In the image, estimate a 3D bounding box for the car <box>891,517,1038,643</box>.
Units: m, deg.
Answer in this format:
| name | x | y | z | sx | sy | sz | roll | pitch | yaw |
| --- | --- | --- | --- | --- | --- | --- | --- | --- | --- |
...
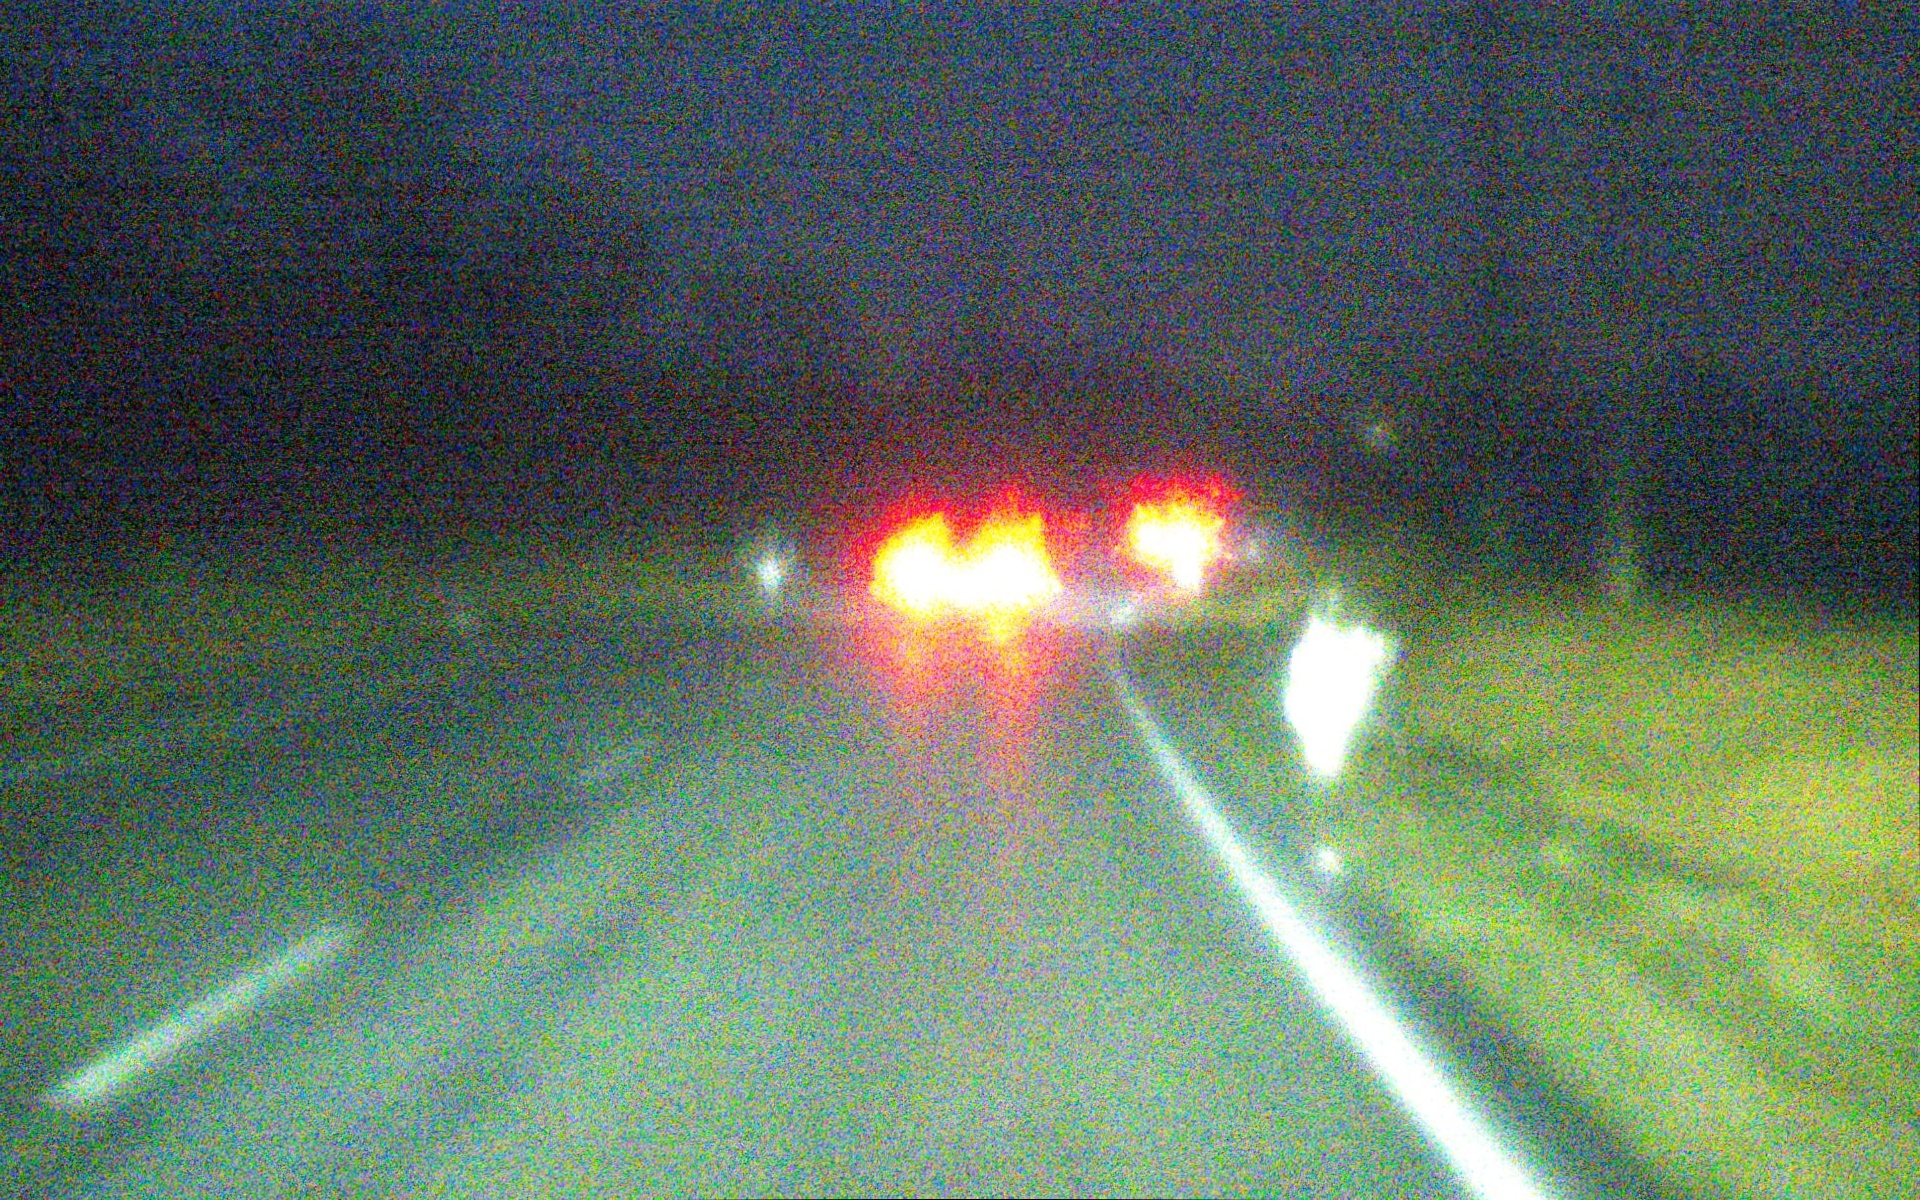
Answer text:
| name | x | y | z | sx | sy | sz | roll | pitch | yaw |
| --- | --- | --- | --- | --- | --- | --- | --- | --- | --- |
| car | 0.109 | -0.321 | 49.883 | 1.843 | 1.734 | 4.000 | 0 | 1 | 4 |
